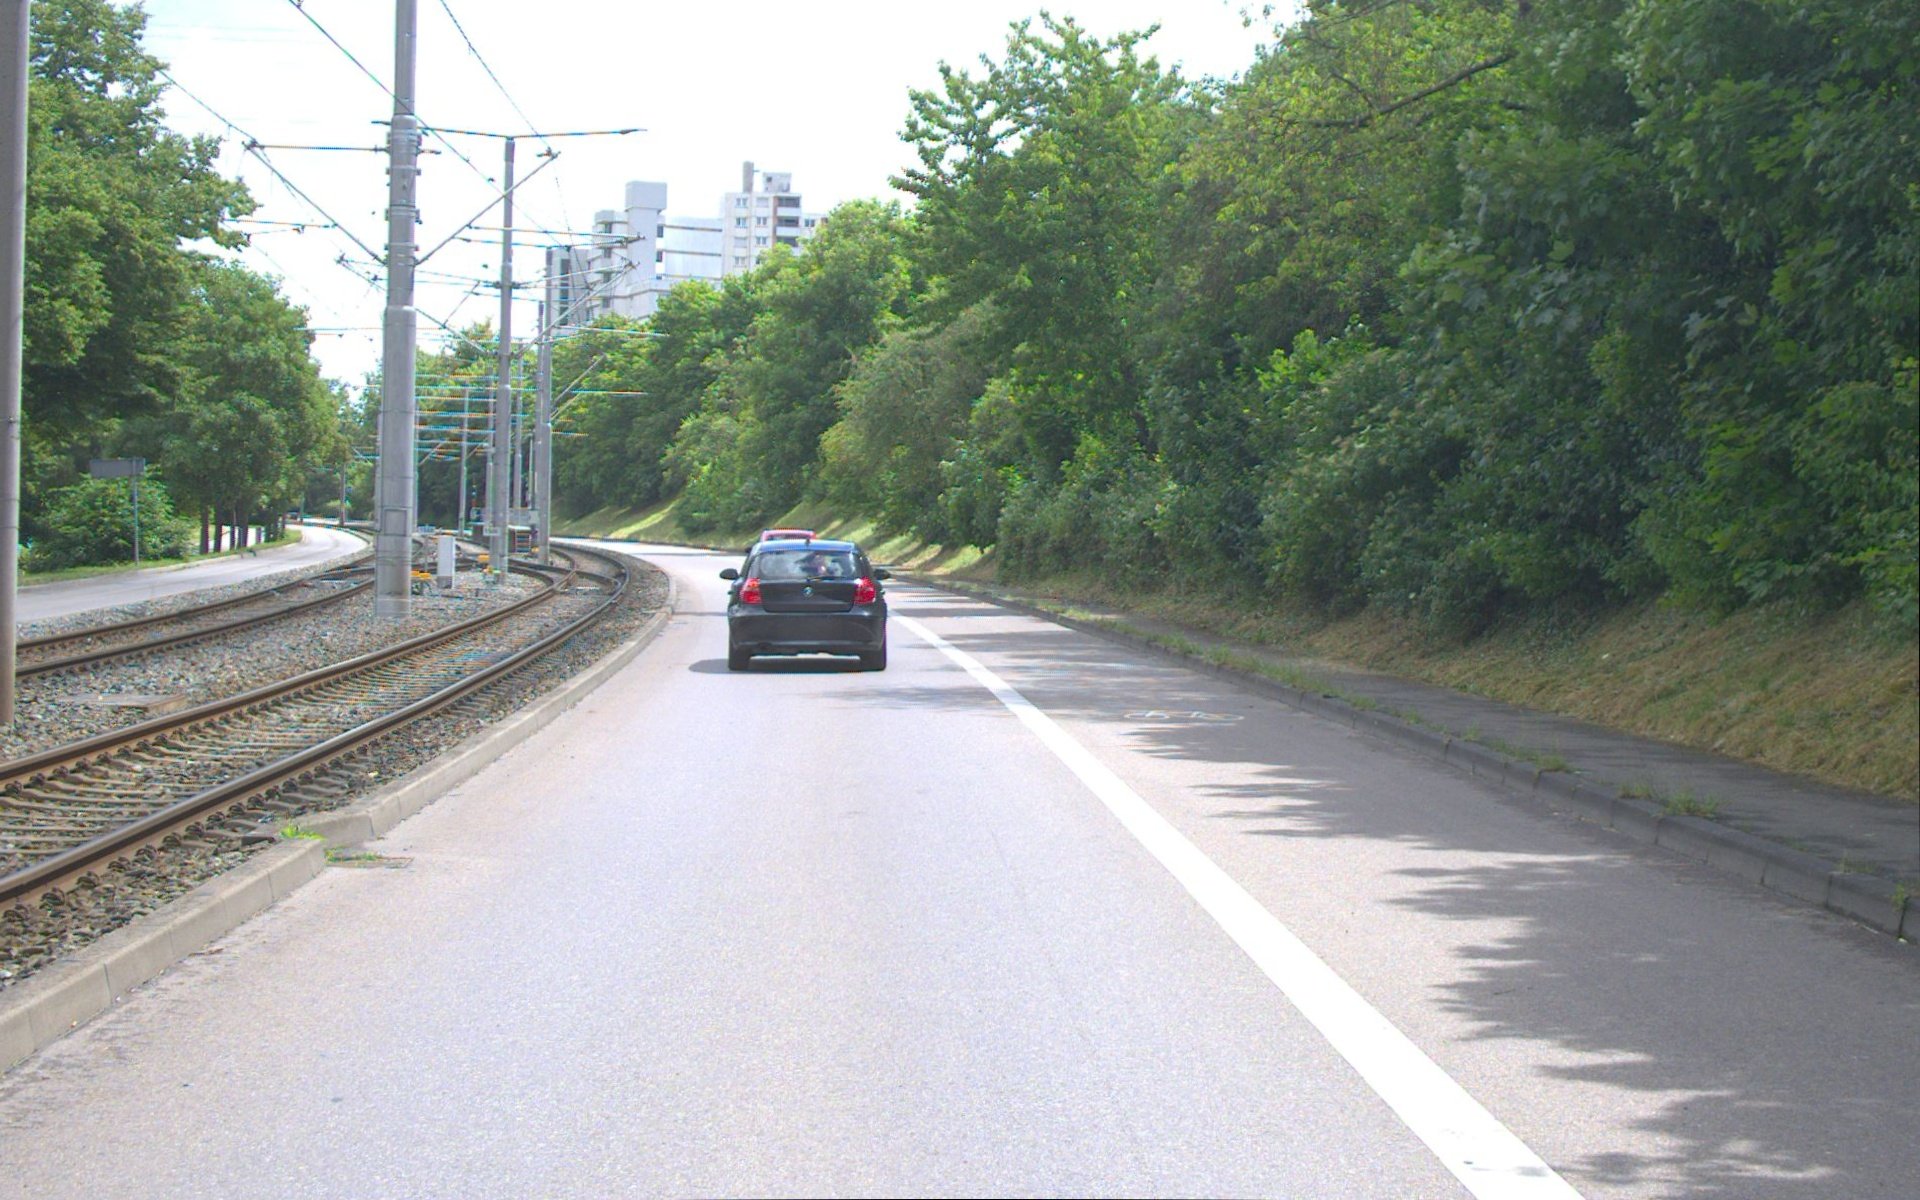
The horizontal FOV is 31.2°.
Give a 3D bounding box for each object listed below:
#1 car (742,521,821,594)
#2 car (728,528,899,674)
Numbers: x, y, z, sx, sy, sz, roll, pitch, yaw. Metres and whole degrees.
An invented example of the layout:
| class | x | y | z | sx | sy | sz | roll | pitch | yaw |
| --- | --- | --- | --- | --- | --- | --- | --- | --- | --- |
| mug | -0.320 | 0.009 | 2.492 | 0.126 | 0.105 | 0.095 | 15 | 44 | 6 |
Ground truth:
| class | x | y | z | sx | sy | sz | roll | pitch | yaw |
| --- | --- | --- | --- | --- | --- | --- | --- | --- | --- |
| car | -3.918 | -0.919 | 75.781 | 1.624 | 1.438 | 3.421 | 3 | -1 | -2 |
| car | -1.581 | 0.000 | 38.259 | 1.708 | 1.455 | 3.960 | 3 | 0 | -1 |
